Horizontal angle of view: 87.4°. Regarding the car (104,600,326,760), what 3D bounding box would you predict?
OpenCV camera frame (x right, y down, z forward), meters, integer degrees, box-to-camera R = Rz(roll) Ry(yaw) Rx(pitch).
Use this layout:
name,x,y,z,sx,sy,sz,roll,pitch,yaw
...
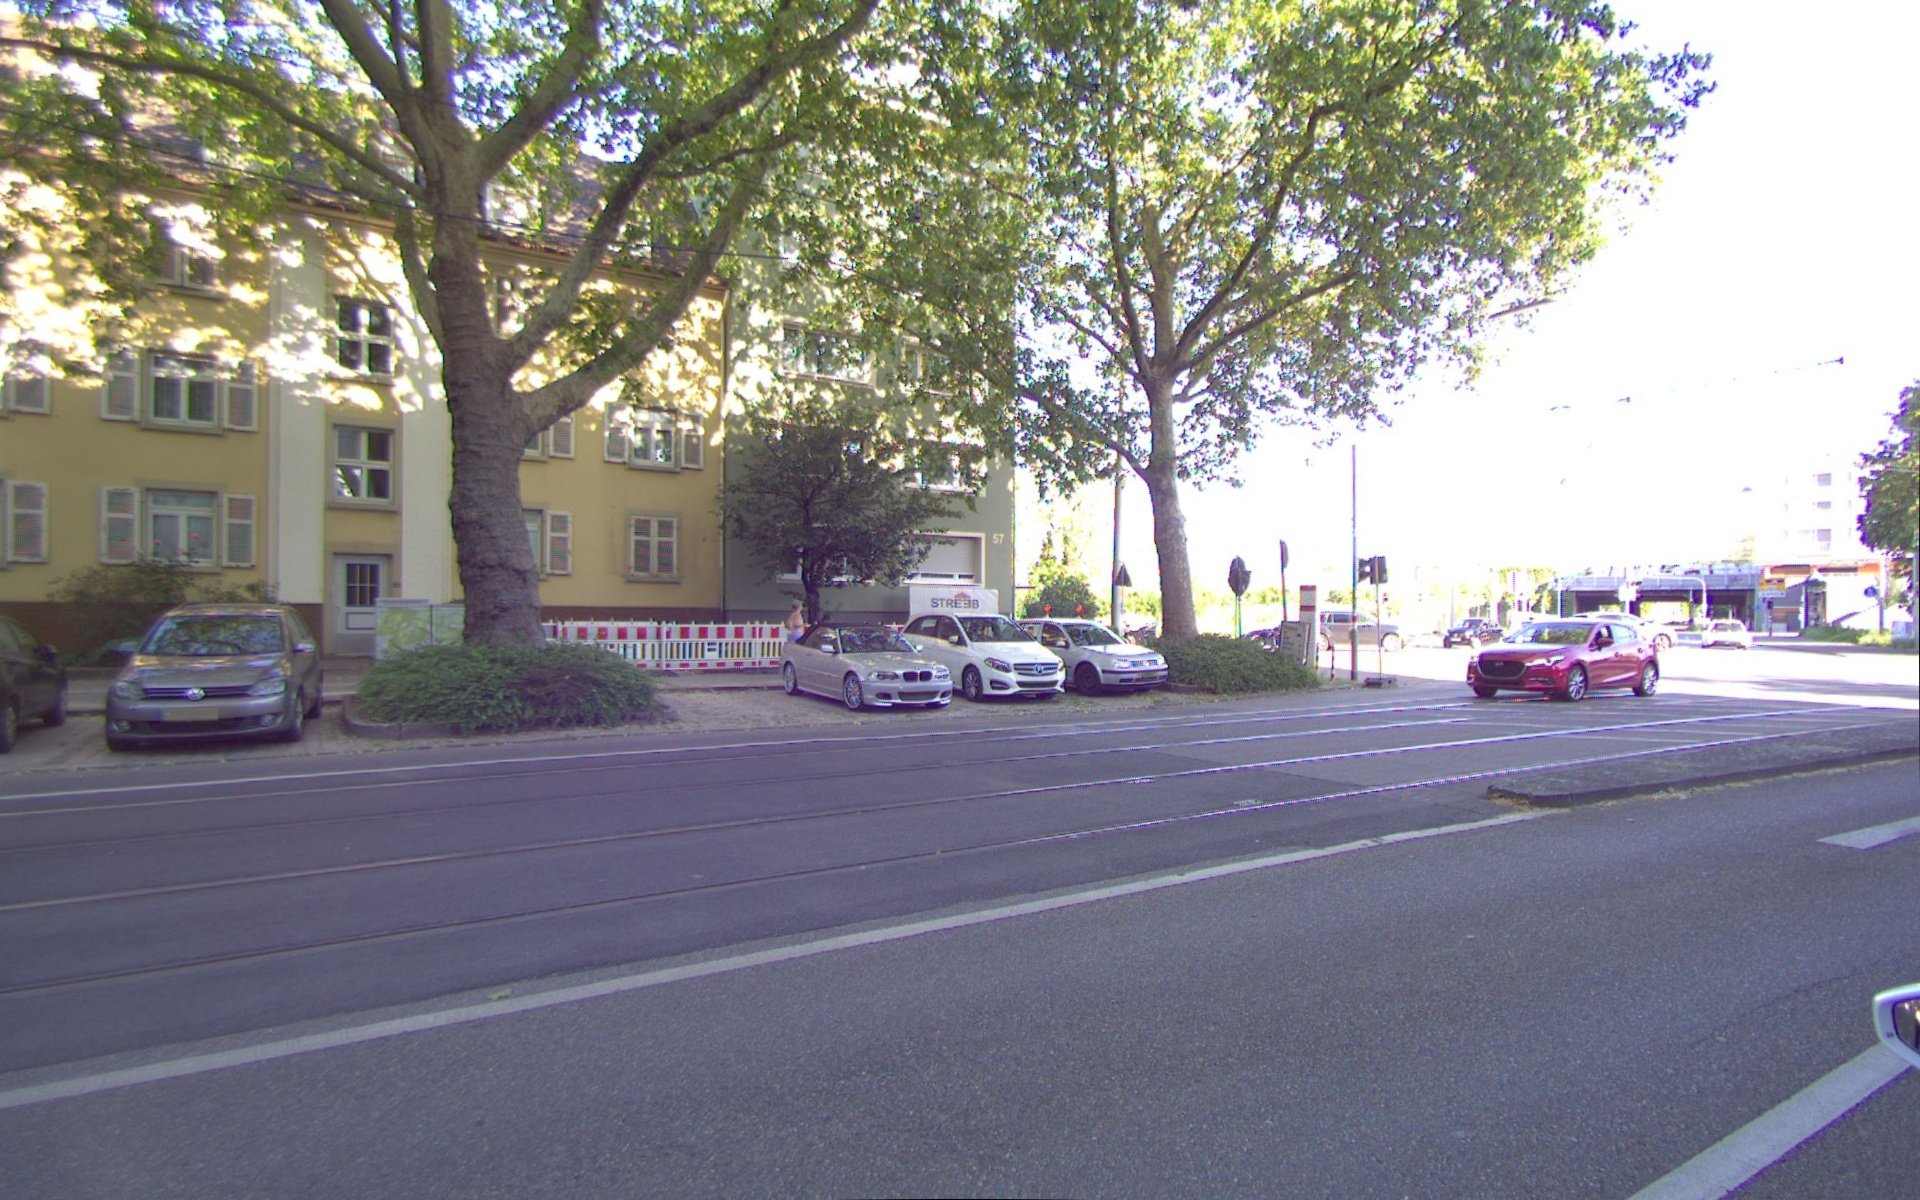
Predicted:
name,x,y,z,sx,sy,sz,roll,pitch,yaw
car,-8.978,0.833,12.423,1.652,1.602,3.953,1,0,-29

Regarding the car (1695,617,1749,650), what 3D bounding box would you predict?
name,x,y,z,sx,sy,sz,roll,pitch,yaw
car,40.090,1.735,52.910,1.964,1.572,4.185,2,0,33

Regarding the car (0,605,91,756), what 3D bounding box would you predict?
name,x,y,z,sx,sy,sz,roll,pitch,yaw
car,-11.443,0.834,11.391,1.652,1.518,3.778,1,0,-30

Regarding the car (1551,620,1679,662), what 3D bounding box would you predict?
name,x,y,z,sx,sy,sz,roll,pitch,yaw
car,27.558,1.708,42.356,4.121,1.539,1.804,2,0,7

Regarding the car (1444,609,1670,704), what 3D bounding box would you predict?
name,x,y,z,sx,sy,sz,roll,pitch,yaw
car,11.323,0.984,18.961,4.445,1.586,2.004,1,-1,-34

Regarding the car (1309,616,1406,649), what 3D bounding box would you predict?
name,x,y,z,sx,sy,sz,roll,pitch,yaw
car,19.680,1.612,49.827,4.176,1.575,1.711,0,-1,7

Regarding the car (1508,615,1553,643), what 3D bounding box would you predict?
name,x,y,z,sx,sy,sz,roll,pitch,yaw
car,34.828,1.769,61.281,1.860,1.606,3.823,2,0,37

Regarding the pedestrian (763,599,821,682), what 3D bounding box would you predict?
name,x,y,z,sx,sy,sz,roll,pitch,yaw
pedestrian,-3.512,0.838,20.943,0.945,1.683,0.768,2,0,-32

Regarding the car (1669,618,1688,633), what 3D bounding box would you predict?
name,x,y,z,sx,sy,sz,roll,pitch,yaw
car,83.518,2.971,116.691,1.731,1.706,3.729,2,0,36

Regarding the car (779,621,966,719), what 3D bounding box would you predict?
name,x,y,z,sx,sy,sz,roll,pitch,yaw
car,-1.629,1.109,17.317,1.651,1.370,3.949,1,0,-31

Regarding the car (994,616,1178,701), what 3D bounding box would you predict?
name,x,y,z,sx,sy,sz,roll,pitch,yaw
car,2.461,1.110,20.538,1.651,1.473,3.949,1,0,-31

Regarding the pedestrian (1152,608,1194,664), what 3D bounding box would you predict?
name,x,y,z,sx,sy,sz,roll,pitch,yaw
pedestrian,6.558,1.102,30.978,0.919,1.669,0.841,2,0,-30

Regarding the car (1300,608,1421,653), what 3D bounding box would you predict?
name,x,y,z,sx,sy,sz,roll,pitch,yaw
car,17.719,1.325,44.519,4.761,1.907,1.911,0,-1,31

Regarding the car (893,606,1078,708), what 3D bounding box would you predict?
name,x,y,z,sx,sy,sz,roll,pitch,yaw
car,0.371,0.983,19.163,1.651,1.669,3.949,1,0,-31

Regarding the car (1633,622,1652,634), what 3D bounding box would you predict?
name,x,y,z,sx,sy,sz,roll,pitch,yaw
car,78.720,3.218,115.915,1.555,1.277,3.421,0,-1,30
